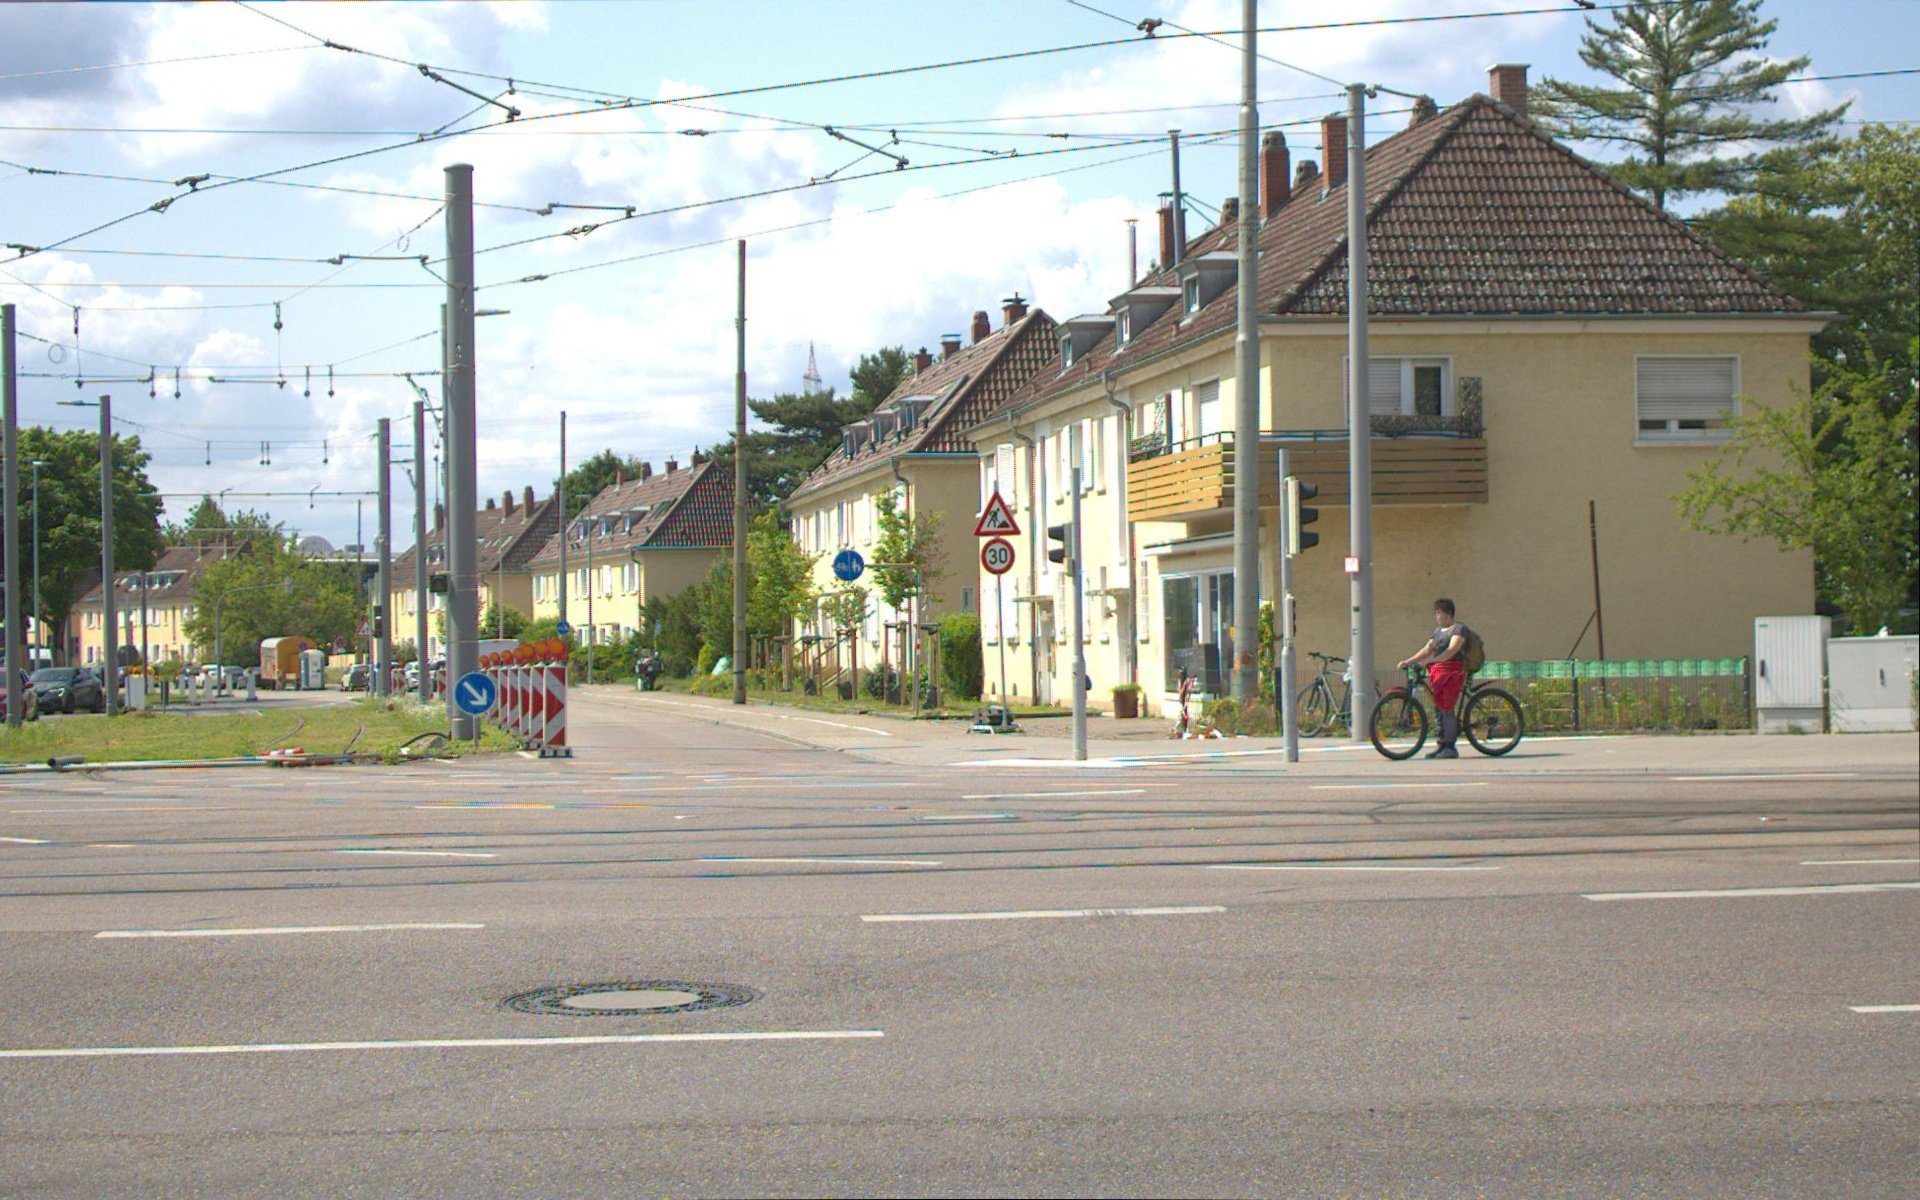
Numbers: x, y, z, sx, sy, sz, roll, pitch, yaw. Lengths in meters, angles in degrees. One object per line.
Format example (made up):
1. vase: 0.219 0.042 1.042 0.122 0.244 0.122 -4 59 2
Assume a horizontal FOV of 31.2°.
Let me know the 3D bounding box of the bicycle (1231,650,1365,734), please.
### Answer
1. bicycle: 4.507 1.227 45.980 0.593 1.093 2.277 -1 -1 -28

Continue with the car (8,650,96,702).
1. car: -28.888 2.406 109.464 1.819 1.547 4.000 -1 0 -2

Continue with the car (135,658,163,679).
1. car: -55.828 4.708 236.685 1.257 1.422 2.665 -1 -1 -28

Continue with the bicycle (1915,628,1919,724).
1. bicycle: 11.967 0.858 39.409 1.806 1.101 0.701 -1 -1 36

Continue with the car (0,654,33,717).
1. car: -23.792 2.070 83.745 1.843 1.489 4.857 -1 -1 -10

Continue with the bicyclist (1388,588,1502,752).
1. bicyclist: 5.334 0.762 37.822 0.957 1.769 0.719 -1 -1 -29

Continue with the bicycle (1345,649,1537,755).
1. bicycle: 5.291 1.112 37.805 2.027 1.098 0.715 -1 -1 -27

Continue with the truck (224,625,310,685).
1. truck: -41.552 3.312 205.910 2.640 3.482 9.438 -1 -1 -26

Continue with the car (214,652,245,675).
1. car: -46.276 4.031 217.807 1.257 1.422 2.665 -1 -1 -26

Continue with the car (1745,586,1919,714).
1. car: 12.256 0.687 46.039 1.821 1.615 4.001 -1 -2 -12

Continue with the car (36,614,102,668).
1. car: -40.479 1.855 156.124 2.406 2.362 4.880 -1 0 -20

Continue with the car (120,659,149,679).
1. car: -57.840 4.833 240.895 1.257 1.422 2.665 -1 -1 -30

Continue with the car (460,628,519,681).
1. car: -20.079 2.328 146.600 2.065 2.142 4.879 -1 -1 -13
